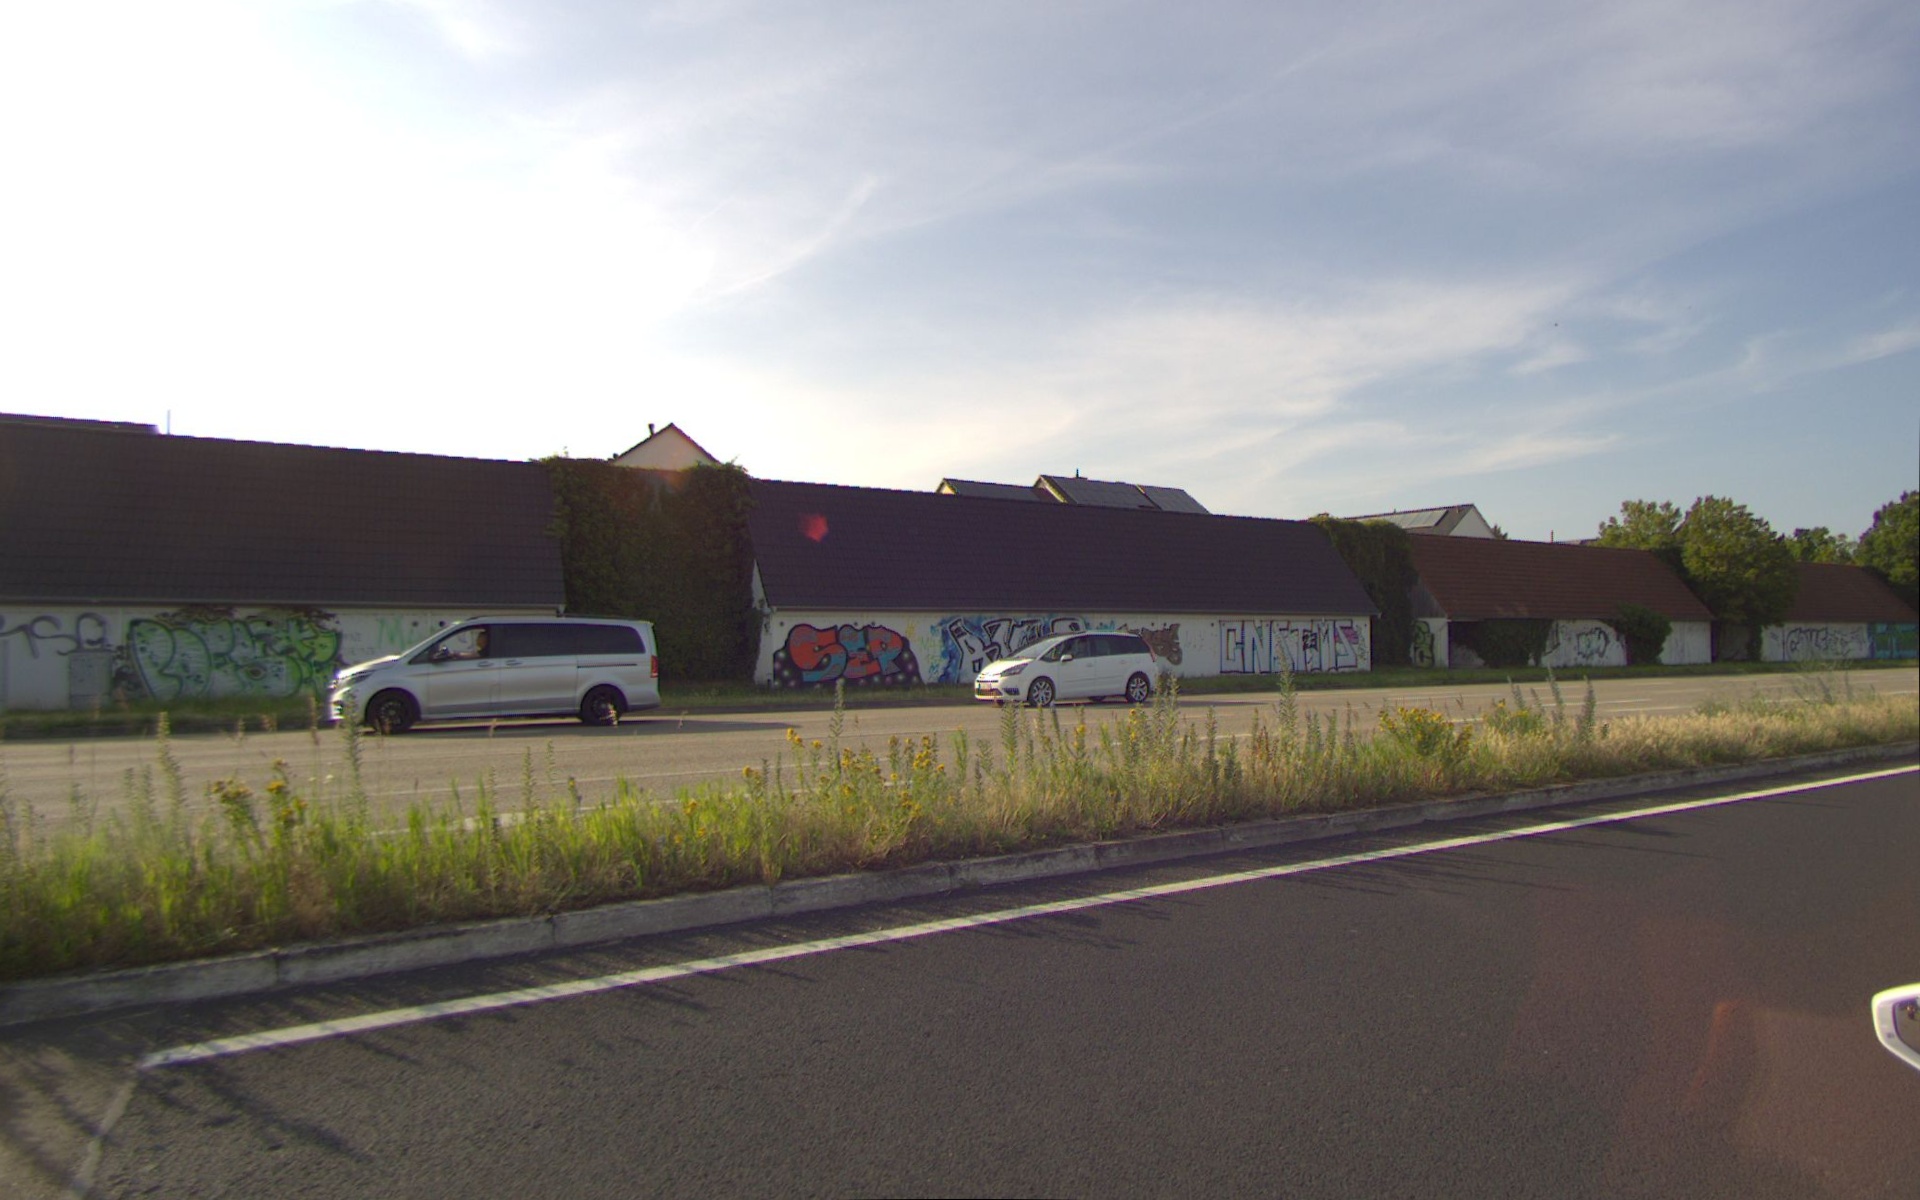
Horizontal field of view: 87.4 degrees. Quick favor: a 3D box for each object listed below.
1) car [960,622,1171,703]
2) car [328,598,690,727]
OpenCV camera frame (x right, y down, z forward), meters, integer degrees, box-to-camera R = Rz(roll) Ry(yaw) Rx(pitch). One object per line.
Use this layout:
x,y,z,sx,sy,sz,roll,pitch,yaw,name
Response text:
2.483,1.458,23.340,4.701,1.729,1.829,2,-4,-30,car
-7.605,1.096,17.348,5.386,1.952,1.900,2,-5,-28,car
